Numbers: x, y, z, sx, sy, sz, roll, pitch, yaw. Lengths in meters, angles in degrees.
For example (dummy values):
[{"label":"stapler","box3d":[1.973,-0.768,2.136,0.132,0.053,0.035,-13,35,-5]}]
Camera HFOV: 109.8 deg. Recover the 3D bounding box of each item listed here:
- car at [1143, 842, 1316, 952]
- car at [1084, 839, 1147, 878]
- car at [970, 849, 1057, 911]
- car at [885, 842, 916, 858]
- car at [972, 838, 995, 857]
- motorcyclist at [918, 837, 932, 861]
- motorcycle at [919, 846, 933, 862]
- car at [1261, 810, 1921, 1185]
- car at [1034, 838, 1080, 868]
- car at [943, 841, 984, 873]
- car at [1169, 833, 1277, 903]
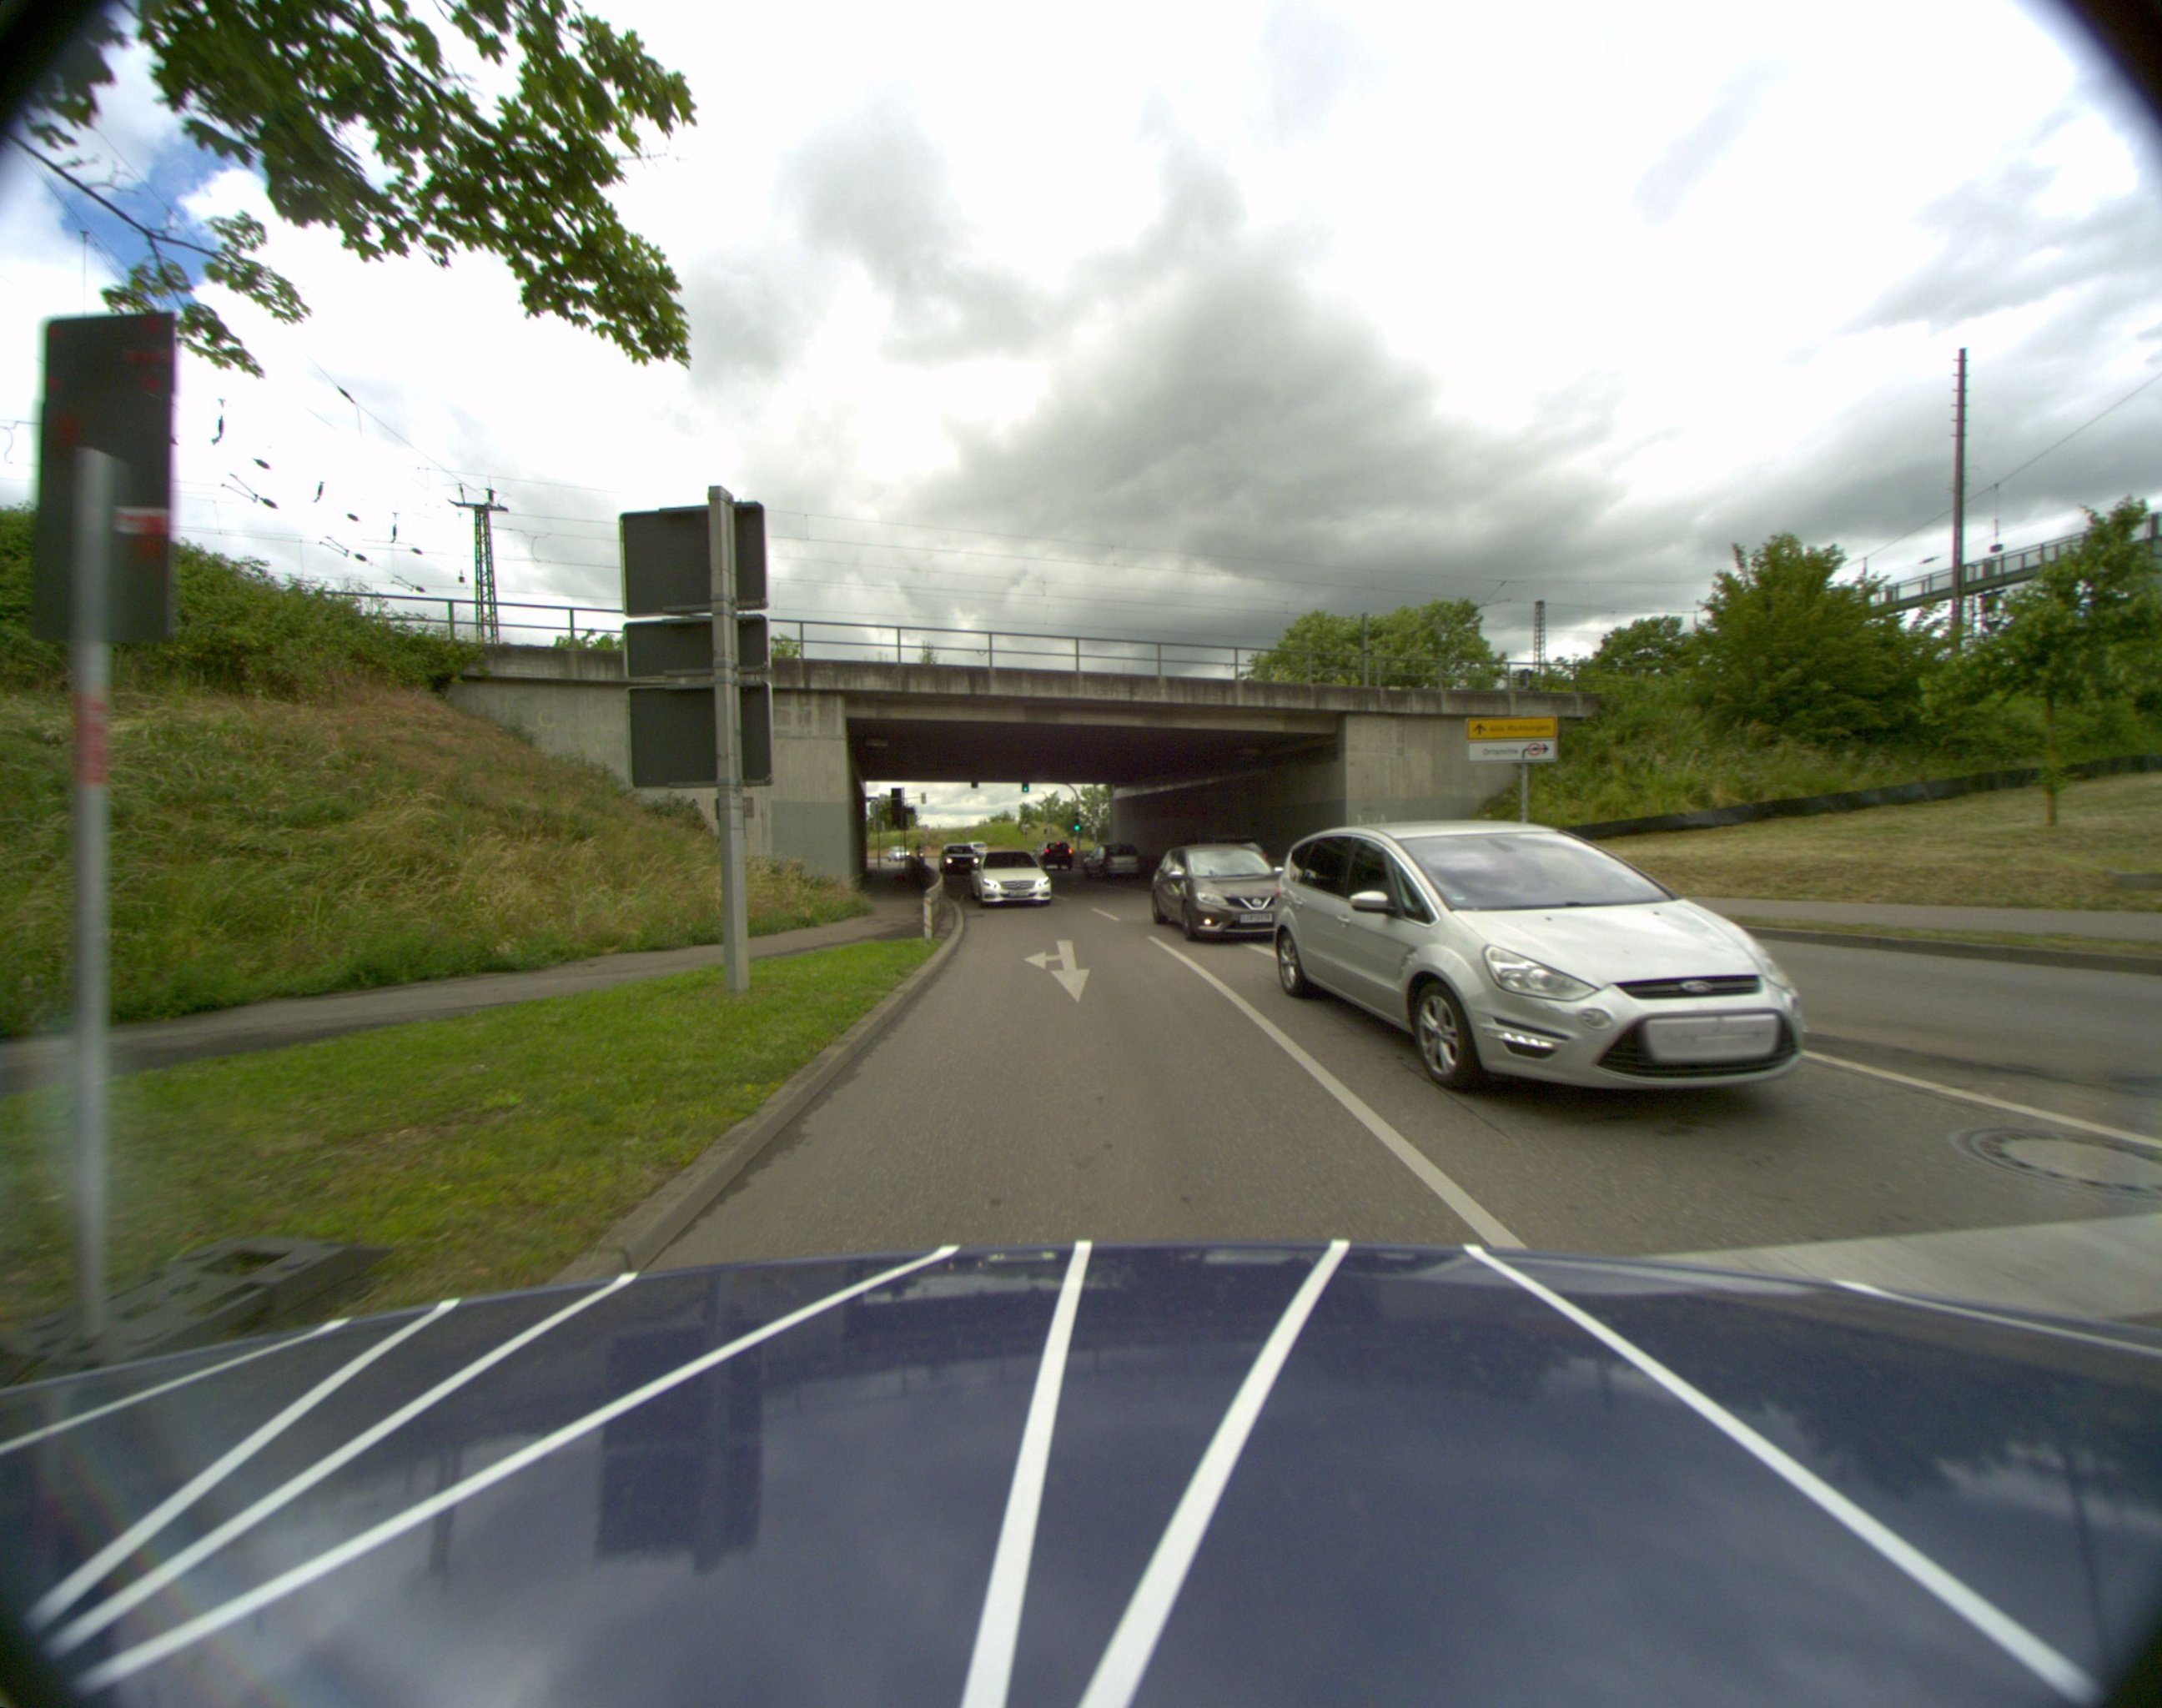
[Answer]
[{"label":"car","box3d":[2.361,0.614,13.247,1.759,1.525,4.252,-3,1,-5]},{"label":"car","box3d":[1.417,0.193,32.647,1.760,1.505,3.883,-3,1,-12]},{"label":"car","box3d":[-1.979,0.655,21.206,1.907,1.471,4.090,-3,1,-11]},{"label":"car","box3d":[-18.500,-0.439,77.617,1.763,1.483,3.990,-3,1,-33]},{"label":"car","box3d":[-8.947,-0.589,69.922,1.759,1.658,3.886,-2,1,-2]},{"label":"motorcyclist","box3d":[-11.074,-0.349,54.057,0.883,1.596,1.242,-2,1,-13]},{"label":"motorcycle","box3d":[-11.062,0.014,54.031,0.883,1.098,2.358,-2,0,-13]},{"label":"car","box3d":[2.880,0.637,5.725,1.830,1.629,4.511,-2,1,-1]},{"label":"car","box3d":[-1.463,-0.053,44.034,1.760,1.610,4.366,-3,1,-14]},{"label":"car","box3d":[-6.289,0.162,40.482,1.760,1.532,3.995,-3,1,-14]},{"label":"car","box3d":[4.024,0.364,22.198,1.966,1.781,3.997,-3,1,-6]}]
